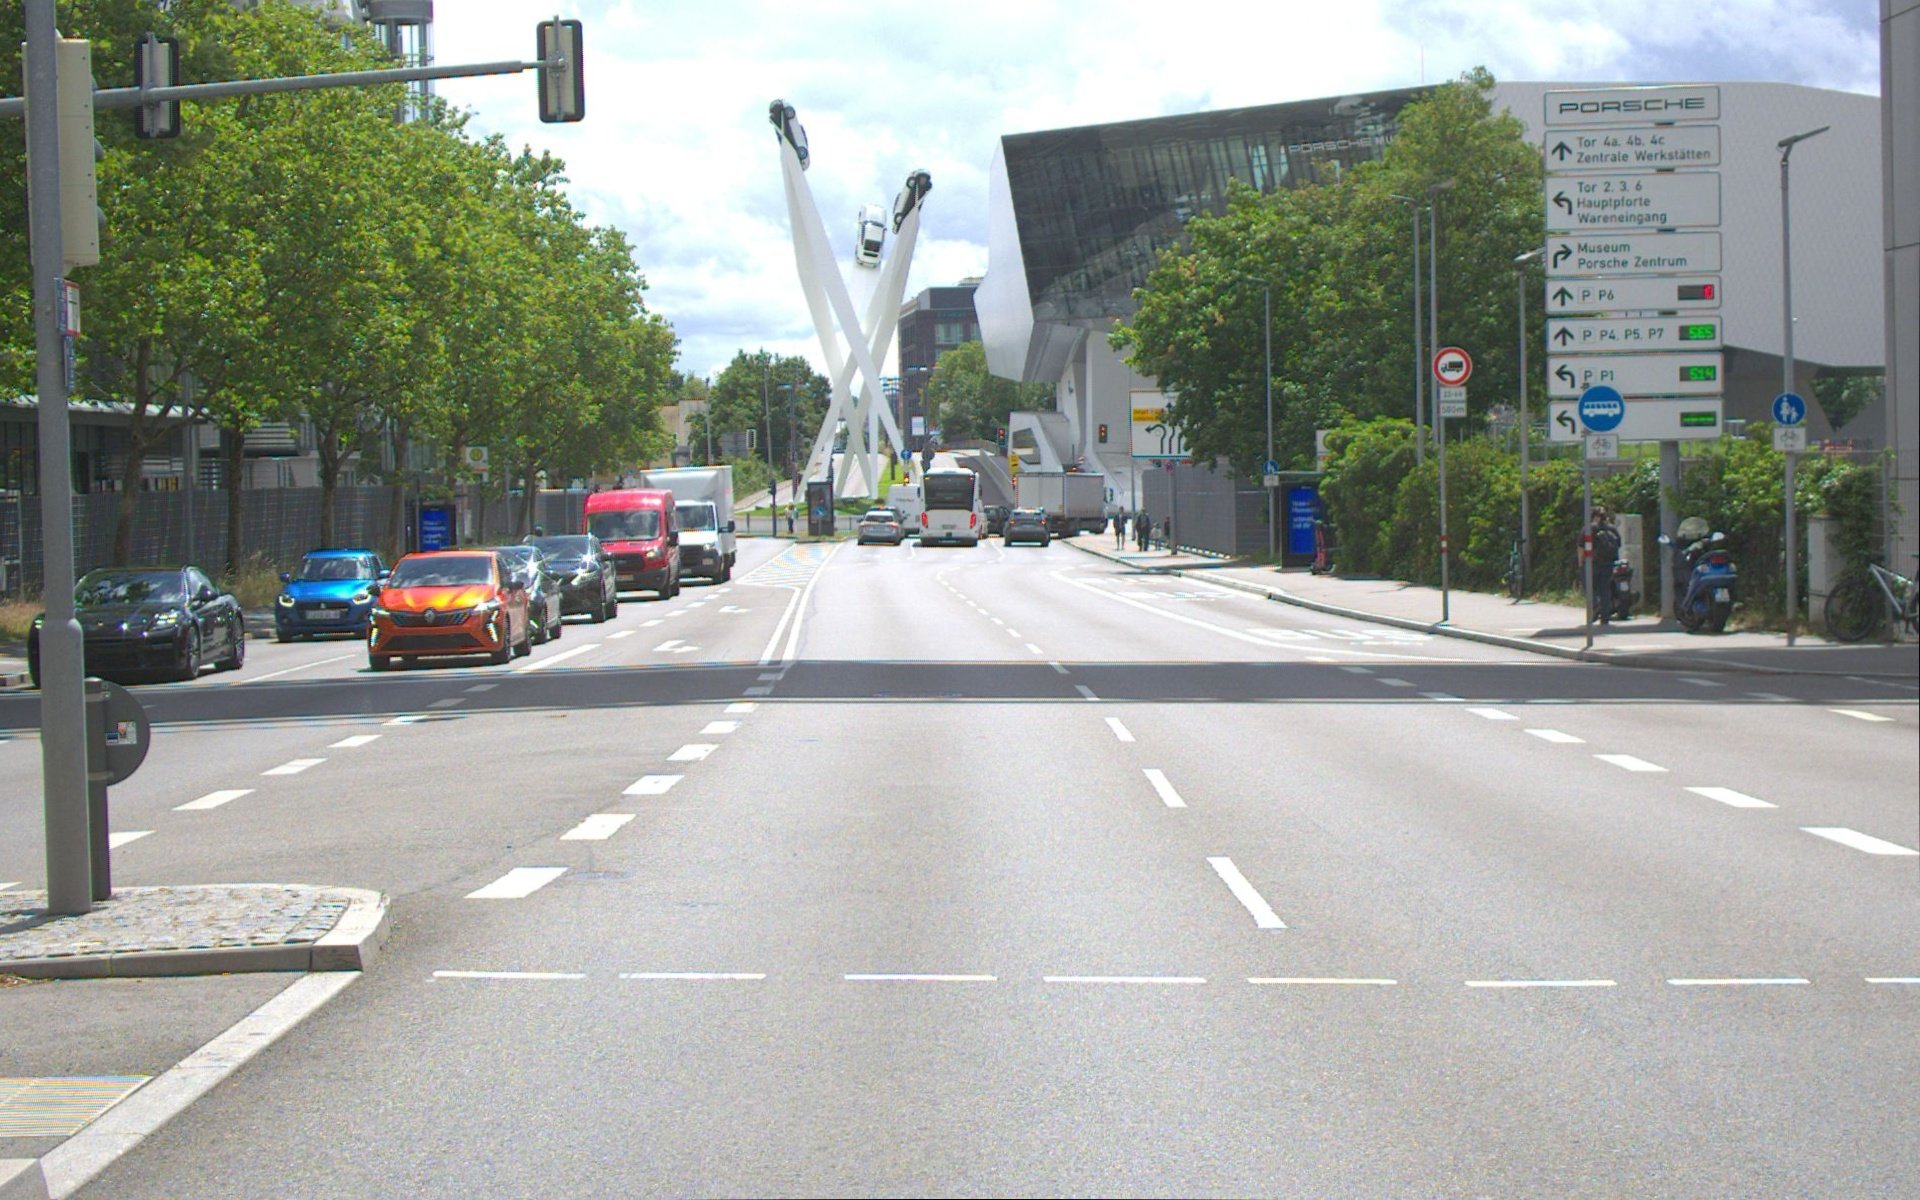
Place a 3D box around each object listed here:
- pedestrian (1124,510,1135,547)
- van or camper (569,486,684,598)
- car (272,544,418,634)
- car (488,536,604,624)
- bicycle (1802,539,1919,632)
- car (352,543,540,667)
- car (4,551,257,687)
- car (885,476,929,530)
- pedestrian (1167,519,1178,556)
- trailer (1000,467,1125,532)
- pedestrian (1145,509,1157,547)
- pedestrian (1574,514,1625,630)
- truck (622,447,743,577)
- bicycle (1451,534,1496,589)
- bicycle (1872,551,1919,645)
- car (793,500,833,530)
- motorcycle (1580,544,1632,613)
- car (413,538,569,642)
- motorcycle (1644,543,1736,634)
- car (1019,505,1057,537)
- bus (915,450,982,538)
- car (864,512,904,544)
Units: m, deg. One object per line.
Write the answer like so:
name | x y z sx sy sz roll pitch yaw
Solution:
pedestrian | 6.546 -2.774 132.932 0.386 1.416 0.423 1 0 0
van or camper | -7.534 -1.336 78.207 2.047 2.458 5.595 0 1 0
car | -10.364 -0.205 58.134 1.727 1.378 3.701 -3 1 0
car | -7.389 -0.376 61.641 1.557 1.443 3.773 -3 1 0
bicycle | 11.170 -0.167 40.865 2.222 1.083 0.476 1 1 35
car | -6.489 0.032 43.731 1.769 1.415 3.701 -3 1 0
car | -10.240 0.190 42.826 1.917 1.483 4.772 -3 1 0
car | -2.644 -4.810 171.274 1.844 2.614 4.000 1 1 3
pedestrian | 8.203 -2.403 132.905 0.386 1.416 0.423 1 0 0
trailer | 5.228 -4.987 172.052 3.322 2.984 10.366 1 1 19
pedestrian | 7.170 -2.686 129.099 0.386 1.416 0.423 1 0 0
pedestrian | 9.129 -0.399 49.112 0.533 1.635 0.658 1 0 -6
truck | -7.351 -2.294 91.738 2.591 3.312 7.079 1 1 0
bicycle | 9.741 -0.730 65.261 0.418 1.019 1.913 1 1 -5
bicycle | 11.662 -0.010 39.535 2.222 1.083 0.476 1 1 35
car | -6.615 -3.835 154.979 1.557 1.269 3.701 -3 1 0
motorcycle | 9.767 -0.334 52.003 0.457 1.019 1.912 1 1 1
car | -7.021 -0.179 51.744 1.769 1.415 3.701 -3 1 0
motorcycle | 9.547 -0.156 45.020 0.418 1.162 1.957 1 1 -11
car | 3.305 -3.374 146.142 1.557 1.269 3.701 -3 1 1
bus | -0.477 -4.585 150.042 2.787 3.673 6.943 1 1 0
car | -3.269 -3.116 148.687 1.557 1.269 3.701 -3 1 1
